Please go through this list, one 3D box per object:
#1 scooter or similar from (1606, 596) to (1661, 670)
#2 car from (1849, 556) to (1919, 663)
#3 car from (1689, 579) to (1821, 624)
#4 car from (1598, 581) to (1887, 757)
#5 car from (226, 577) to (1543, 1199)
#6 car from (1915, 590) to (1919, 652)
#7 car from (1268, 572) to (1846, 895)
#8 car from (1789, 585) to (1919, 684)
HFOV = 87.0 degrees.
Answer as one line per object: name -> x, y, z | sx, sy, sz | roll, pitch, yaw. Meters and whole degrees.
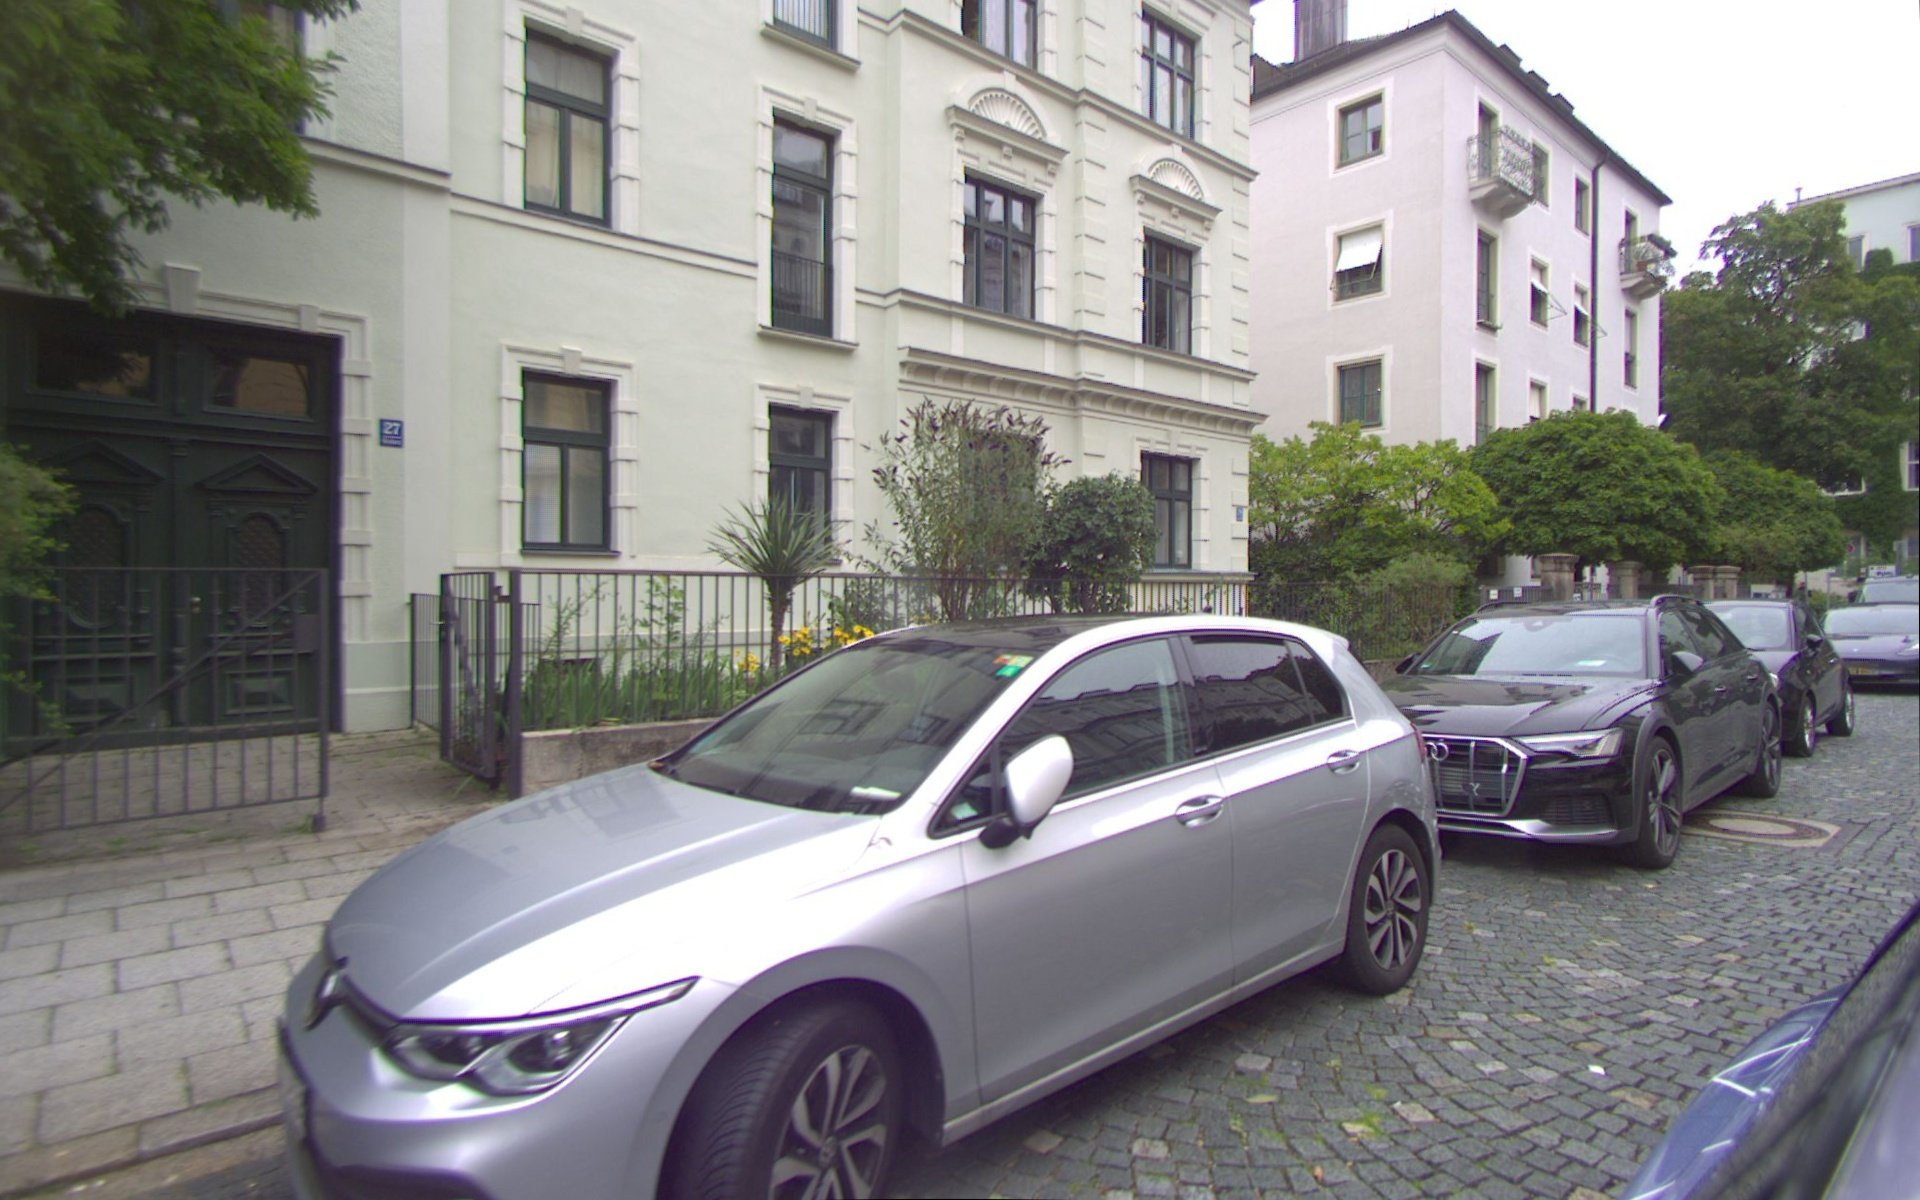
scooter or similar -> 12.275, 0.575, 18.423 | 1.447, 1.230, 0.443 | -1, 6, -44
car -> 19.908, 0.138, 20.682 | 4.882, 1.995, 1.996 | -1, -2, -42
car -> 32.571, 0.083, 41.542 | 1.868, 1.702, 3.990 | -1, -1, -42
car -> 8.297, 0.615, 10.628 | 3.622, 1.528, 1.669 | -1, -2, -41
car -> 0.200, 0.716, 3.560 | 4.401, 1.478, 1.758 | -1, -2, -40
car -> 23.923, 0.475, 23.782 | 4.109, 1.392, 1.743 | -1, 2, -41
car -> 4.459, 0.641, 7.142 | 5.015, 1.522, 1.907 | -1, -2, -40
car -> 15.796, 0.512, 17.018 | 4.450, 1.484, 1.941 | -1, -1, -39
